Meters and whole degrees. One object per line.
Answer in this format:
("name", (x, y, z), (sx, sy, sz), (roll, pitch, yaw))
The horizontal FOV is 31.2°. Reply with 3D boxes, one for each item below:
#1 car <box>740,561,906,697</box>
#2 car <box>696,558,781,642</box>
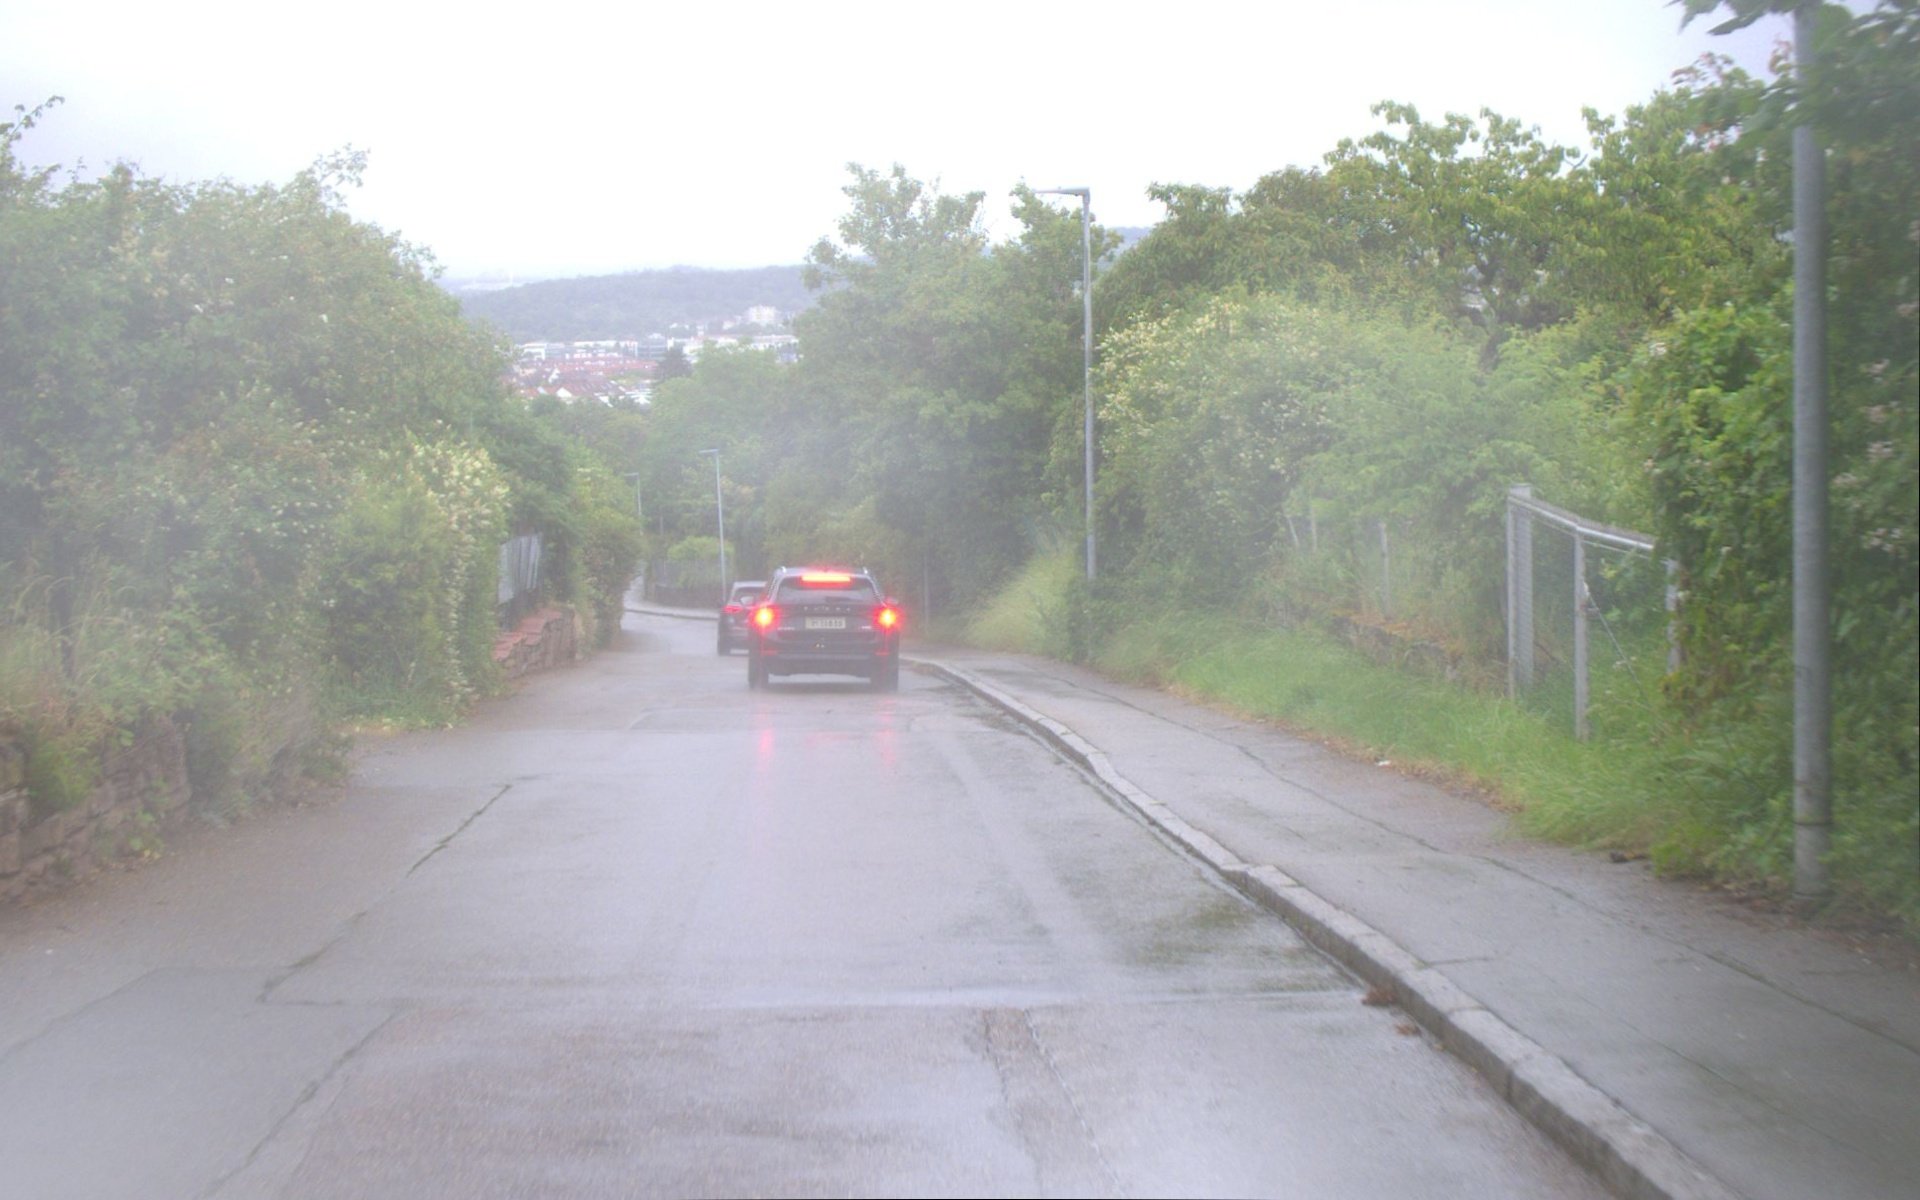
("car", (-1.698, 0.308, 41.392), (1.834, 1.459, 4.001), (-1, 2, -4))
("car", (-4.541, -0.022, 70.824), (1.678, 1.560, 3.795), (0, 2, -3))
